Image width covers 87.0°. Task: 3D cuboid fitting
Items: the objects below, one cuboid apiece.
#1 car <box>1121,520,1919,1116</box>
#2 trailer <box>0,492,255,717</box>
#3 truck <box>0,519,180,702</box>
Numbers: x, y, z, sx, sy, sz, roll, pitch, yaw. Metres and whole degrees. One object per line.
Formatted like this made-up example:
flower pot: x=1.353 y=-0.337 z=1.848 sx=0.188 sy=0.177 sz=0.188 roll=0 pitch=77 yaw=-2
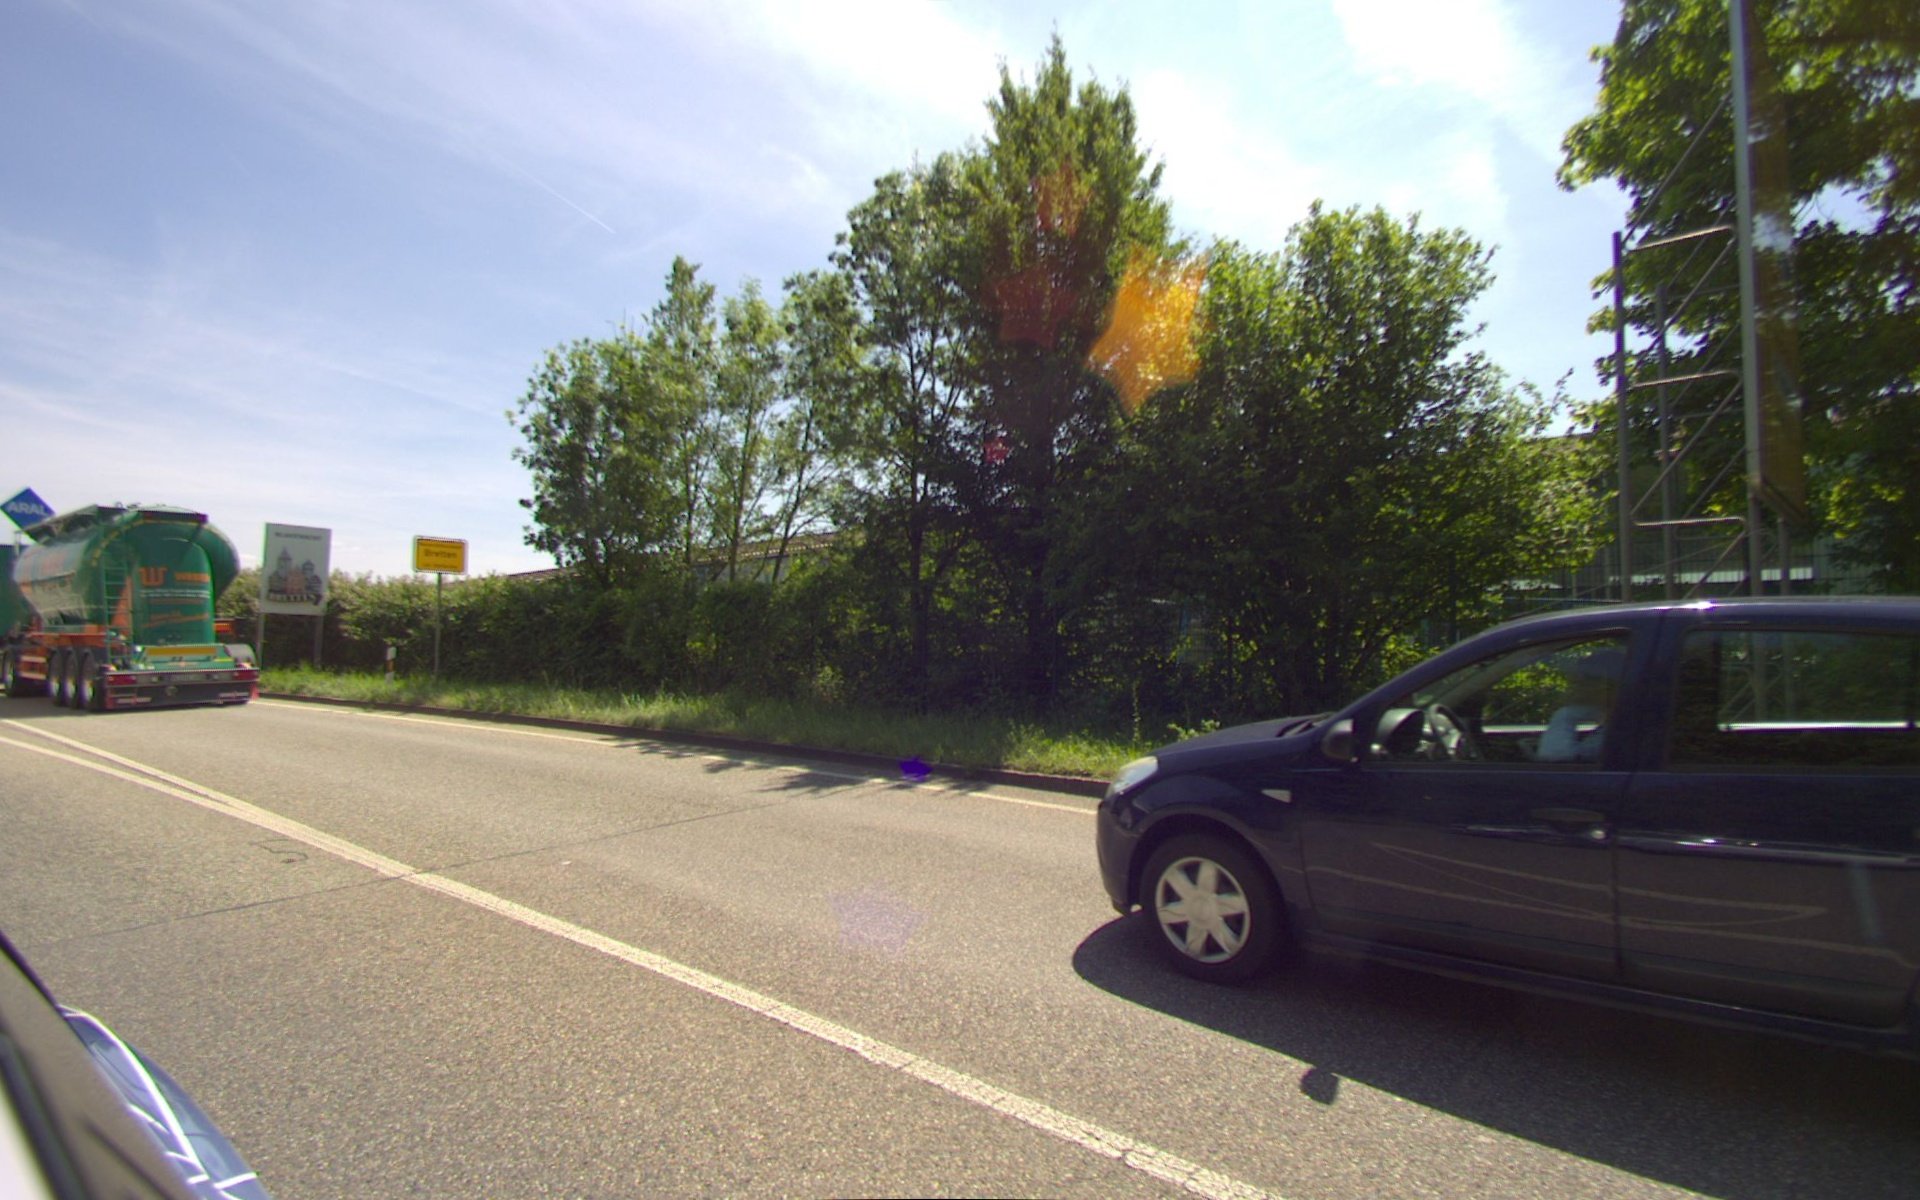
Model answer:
car: x=2.745 y=0.580 z=3.519 sx=4.070 sy=1.541 sz=1.665 roll=-3 pitch=-2 yaw=43
trailer: x=-17.657 y=0.218 z=21.086 sx=8.905 sy=3.848 sz=2.552 roll=-2 pitch=-2 yaw=39
truck: x=-21.171 y=0.347 z=23.977 sx=7.866 sy=3.708 sz=2.553 roll=-2 pitch=-2 yaw=39
